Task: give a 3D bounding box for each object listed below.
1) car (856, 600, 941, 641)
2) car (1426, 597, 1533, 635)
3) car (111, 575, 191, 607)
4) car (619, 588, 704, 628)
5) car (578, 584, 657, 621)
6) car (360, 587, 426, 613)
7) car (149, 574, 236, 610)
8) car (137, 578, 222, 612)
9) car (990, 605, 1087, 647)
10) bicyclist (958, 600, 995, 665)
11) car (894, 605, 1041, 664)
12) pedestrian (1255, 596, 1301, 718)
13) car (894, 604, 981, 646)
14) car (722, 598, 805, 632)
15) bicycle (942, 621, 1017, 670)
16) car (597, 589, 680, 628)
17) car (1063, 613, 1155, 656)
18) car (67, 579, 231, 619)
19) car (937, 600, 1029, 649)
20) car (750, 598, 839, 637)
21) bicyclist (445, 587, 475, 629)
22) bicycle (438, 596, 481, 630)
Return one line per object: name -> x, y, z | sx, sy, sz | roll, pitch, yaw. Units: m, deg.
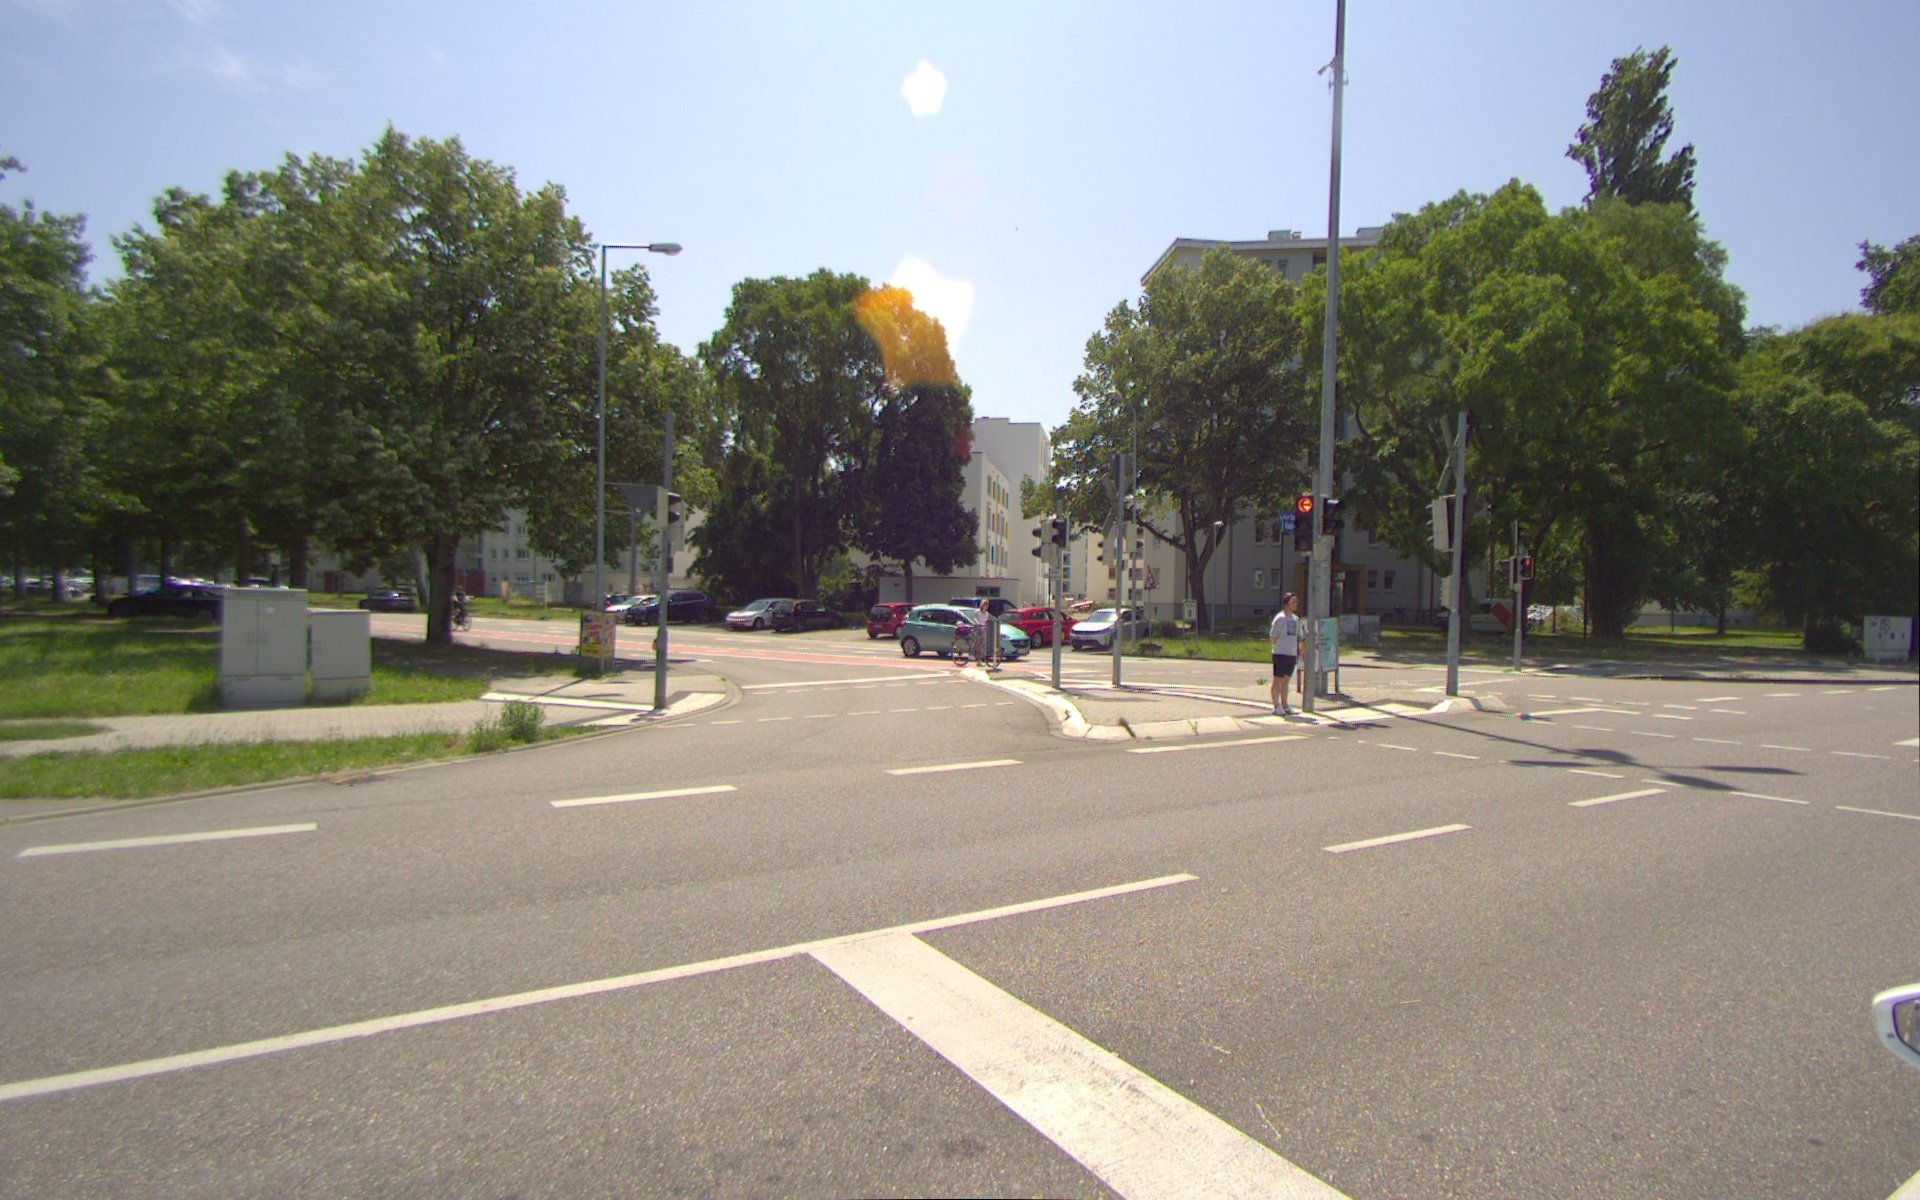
car -> -2.658, 0.899, 44.225 | 1.819, 1.690, 3.993 | 1, 0, 29
car -> 26.391, 0.774, 51.126 | 4.456, 1.791, 1.793 | 1, 0, 10
car -> -55.901, -0.639, 69.468 | 1.969, 2.041, 3.981 | 6, 3, 39
car -> -15.719, 0.384, 52.998 | 1.822, 1.974, 3.984 | 3, 1, 37
car -> -19.770, 0.138, 58.065 | 1.822, 1.974, 3.984 | 3, 1, 37
car -> -36.075, 0.010, 63.843 | 4.554, 1.519, 1.906 | 1, 0, 36
car -> -48.128, -0.499, 63.050 | 1.969, 2.041, 3.981 | 6, 3, 39
car -> -50.394, -0.327, 64.906 | 1.969, 2.041, 3.981 | 6, 3, 39
car -> 3.076, 0.985, 38.971 | 1.600, 1.483, 3.976 | 3, 2, 43
bicyclist -> 0.418, 0.794, 24.963 | 0.655, 1.557, 0.629 | 1, 1, 38
car -> 0.181, 0.922, 28.353 | 3.834, 1.488, 1.769 | 1, 0, 36
pedestrian -> 4.558, 0.807, 14.401 | 0.481, 1.710, 0.380 | 1, 1, -34
car -> -0.889, 0.990, 42.017 | 1.680, 1.613, 3.989 | 3, 1, 33
car -> -9.612, 0.729, 49.343 | 1.667, 1.583, 3.823 | 1, 0, 37
bicycle -> 0.472, 1.109, 24.922 | 1.840, 1.108, 0.644 | 1, 1, 38
car -> -17.642, 0.449, 55.222 | 1.822, 1.974, 3.984 | 3, 1, 37
car -> 5.591, 1.234, 37.360 | 1.604, 1.399, 3.983 | 3, 1, 38
car -> -31.304, -0.044, 38.939 | 4.504, 1.487, 1.995 | 0, 0, -13
car -> 0.972, 0.959, 40.744 | 1.683, 1.825, 3.984 | 3, 1, 37
car -> -7.822, 0.824, 47.717 | 1.823, 1.734, 3.985 | 1, 0, 37
bicyclist -> -20.678, 0.315, 41.522 | 0.884, 1.715, 0.770 | 1, 1, 38
bicycle -> -20.670, 0.522, 41.493 | 2.028, 1.317, 0.770 | 1, 0, 38
